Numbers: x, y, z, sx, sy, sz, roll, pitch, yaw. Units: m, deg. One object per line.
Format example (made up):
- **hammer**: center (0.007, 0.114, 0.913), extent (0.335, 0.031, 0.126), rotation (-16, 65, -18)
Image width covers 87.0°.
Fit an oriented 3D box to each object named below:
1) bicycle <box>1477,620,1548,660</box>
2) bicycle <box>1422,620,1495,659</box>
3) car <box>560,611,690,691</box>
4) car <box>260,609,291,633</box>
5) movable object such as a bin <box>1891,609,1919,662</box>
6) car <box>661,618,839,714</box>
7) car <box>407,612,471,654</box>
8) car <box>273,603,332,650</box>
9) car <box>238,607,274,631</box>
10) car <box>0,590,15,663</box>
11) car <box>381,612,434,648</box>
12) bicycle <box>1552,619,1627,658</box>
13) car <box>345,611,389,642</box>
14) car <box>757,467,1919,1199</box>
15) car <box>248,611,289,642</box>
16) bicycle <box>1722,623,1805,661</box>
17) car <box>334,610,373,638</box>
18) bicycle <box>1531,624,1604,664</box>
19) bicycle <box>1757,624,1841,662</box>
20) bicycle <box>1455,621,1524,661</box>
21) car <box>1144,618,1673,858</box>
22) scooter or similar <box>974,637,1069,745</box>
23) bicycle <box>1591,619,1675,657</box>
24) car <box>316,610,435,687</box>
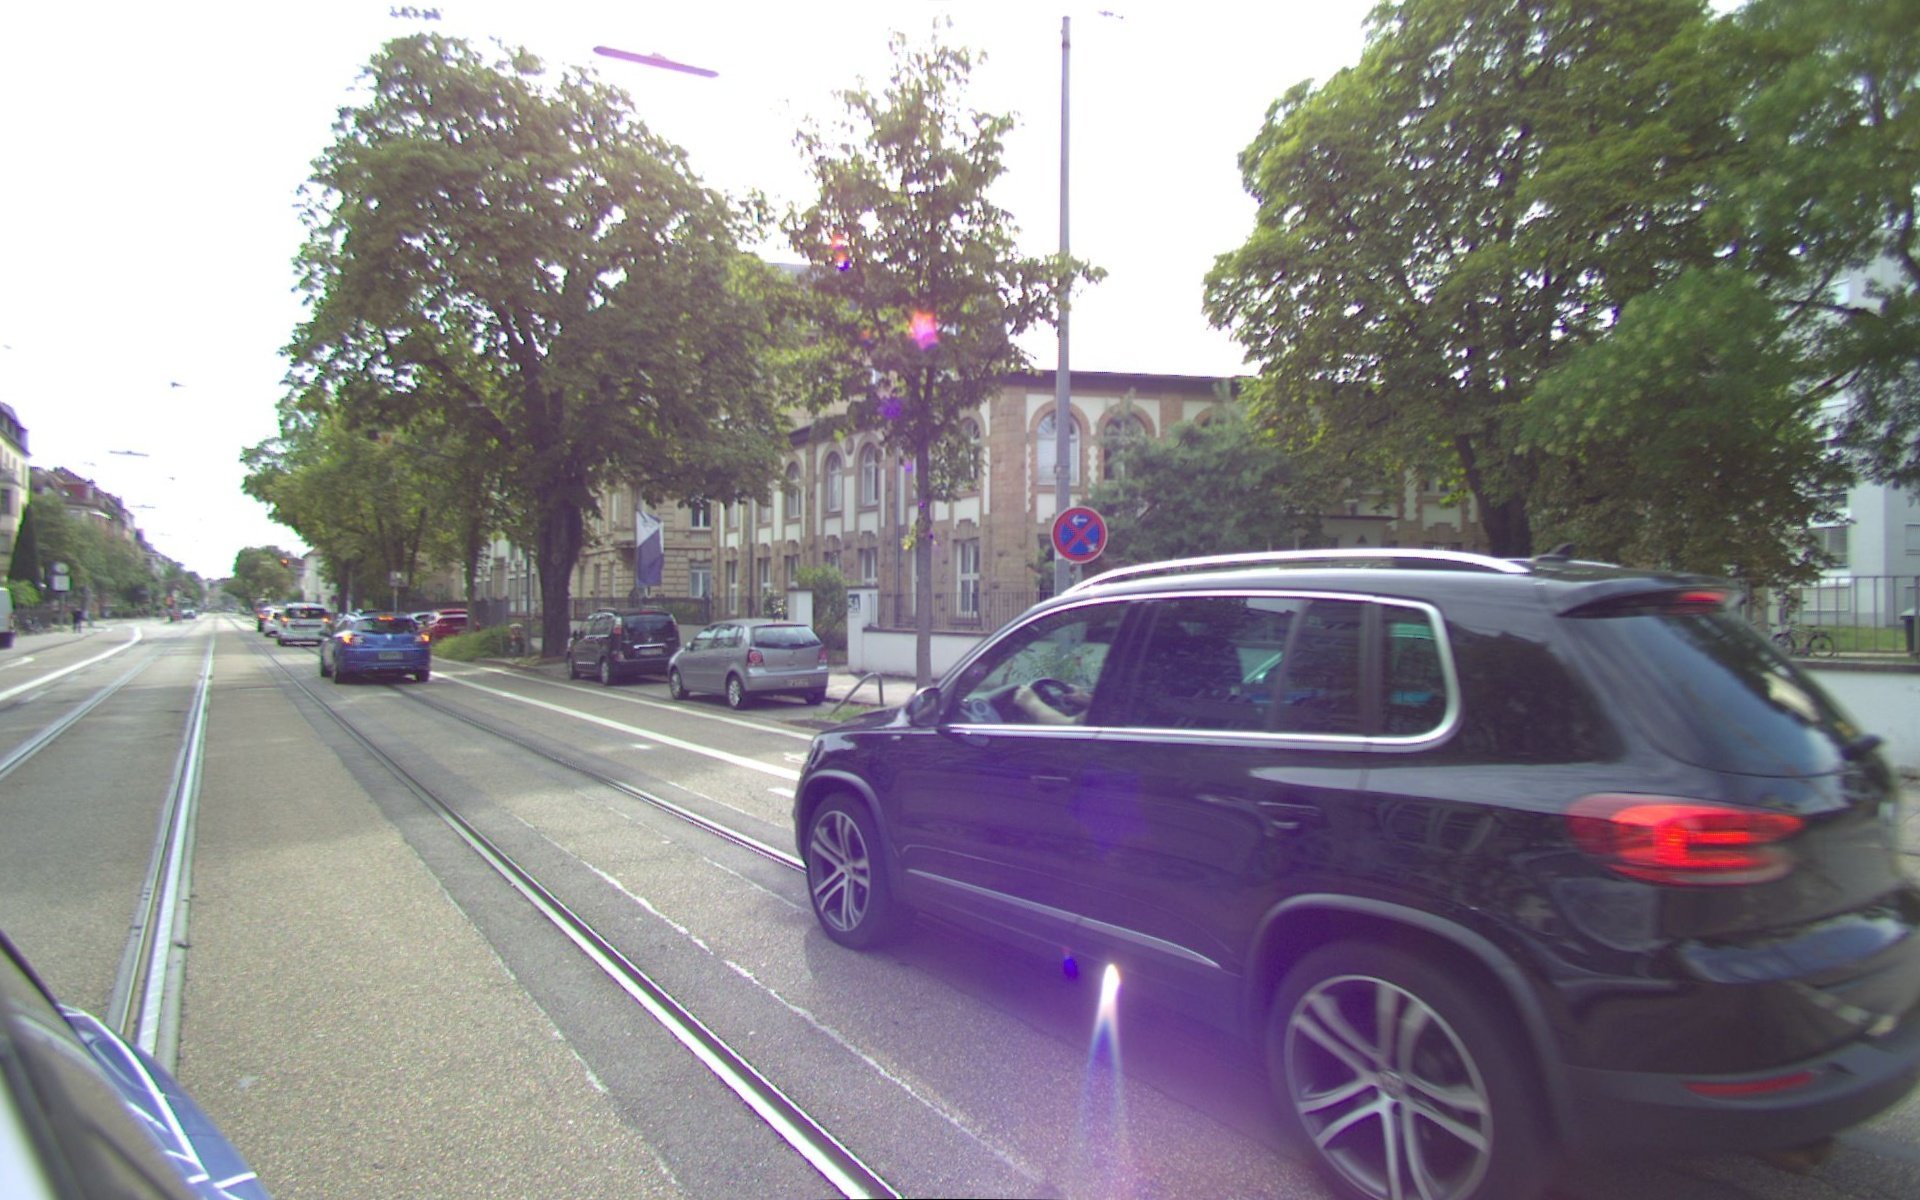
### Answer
- **bicycle**: center (15.686, 1.116, 28.789), extent (0.585, 1.051, 1.983), rotation (0, 0, -12)
- **bicycle**: center (14.028, 1.090, 28.540), extent (0.584, 1.051, 1.984), rotation (0, 0, -19)
- **car**: center (-7.619, 1.078, 22.852), extent (1.633, 1.646, 3.733), rotation (1, -1, -38)
- **car**: center (-54.150, 1.679, 80.025), extent (1.772, 1.838, 4.688), rotation (0, -1, -38)
- **movable object such as a bin**: center (26.625, 0.977, 27.680), extent (1.104, 1.441, 1.287), rotation (1, -1, -10)
- **car**: center (-3.717, 1.053, 17.520), extent (1.607, 1.476, 3.581), rotation (1, -1, -38)
- **car**: center (-21.218, 1.302, 41.144), extent (1.633, 1.646, 3.914), rotation (1, -1, -38)
- **car**: center (-28.166, 1.119, 43.292), extent (1.710, 1.898, 4.386), rotation (1, -1, -39)
- **car**: center (-48.734, 1.296, 69.983), extent (1.823, 1.624, 4.343), rotation (1, -1, -38)
- **car**: center (-30.182, 0.765, 28.196), extent (2.125, 2.192, 5.420), rotation (0, -1, 11)
- **car**: center (-26.382, 1.401, 48.256), extent (1.633, 1.613, 3.914), rotation (1, -1, -38)
- **bicycle**: center (18.101, 1.095, 29.152), extent (0.585, 1.051, 1.983), rotation (0, 0, -12)
- **car**: center (-33.074, 1.446, 56.429), extent (1.633, 1.646, 3.914), rotation (1, -1, -38)
- **car**: center (0.969, 0.653, 3.925), extent (1.709, 1.641, 4.388), rotation (2, -2, -37)
- **car**: center (-38.598, 1.471, 56.418), extent (1.709, 1.624, 4.344), rotation (2, -2, -36)
- **bicycle**: center (23.851, 1.239, 30.081), extent (0.585, 1.051, 1.983), rotation (0, 0, -12)
- **car**: center (-37.387, 1.451, 62.362), extent (1.633, 1.646, 3.914), rotation (1, -1, -38)
- **bicycle**: center (17.353, 1.238, 28.956), extent (0.585, 1.051, 1.983), rotation (0, 0, -12)
- **bicycle**: center (25.155, 1.278, 30.382), extent (0.585, 1.051, 1.983), rotation (0, 0, -12)
- **bicycle**: center (14.937, 1.141, 28.599), extent (0.585, 1.051, 1.983), rotation (0, 0, -12)
- **car**: center (3.403, 0.896, 8.233), extent (1.607, 1.476, 3.610), rotation (1, -1, -38)
- **scooter or similar**: center (0.716, 1.044, 11.780), extent (0.988, 1.176, 0.370), rotation (-2, 0, -13)
- **bicycle**: center (19.781, 1.108, 29.798), extent (0.585, 1.051, 1.983), rotation (0, -1, -35)
- **car**: center (-12.948, 1.010, 22.291), extent (1.709, 1.508, 4.387), rotation (1, -2, -37)
